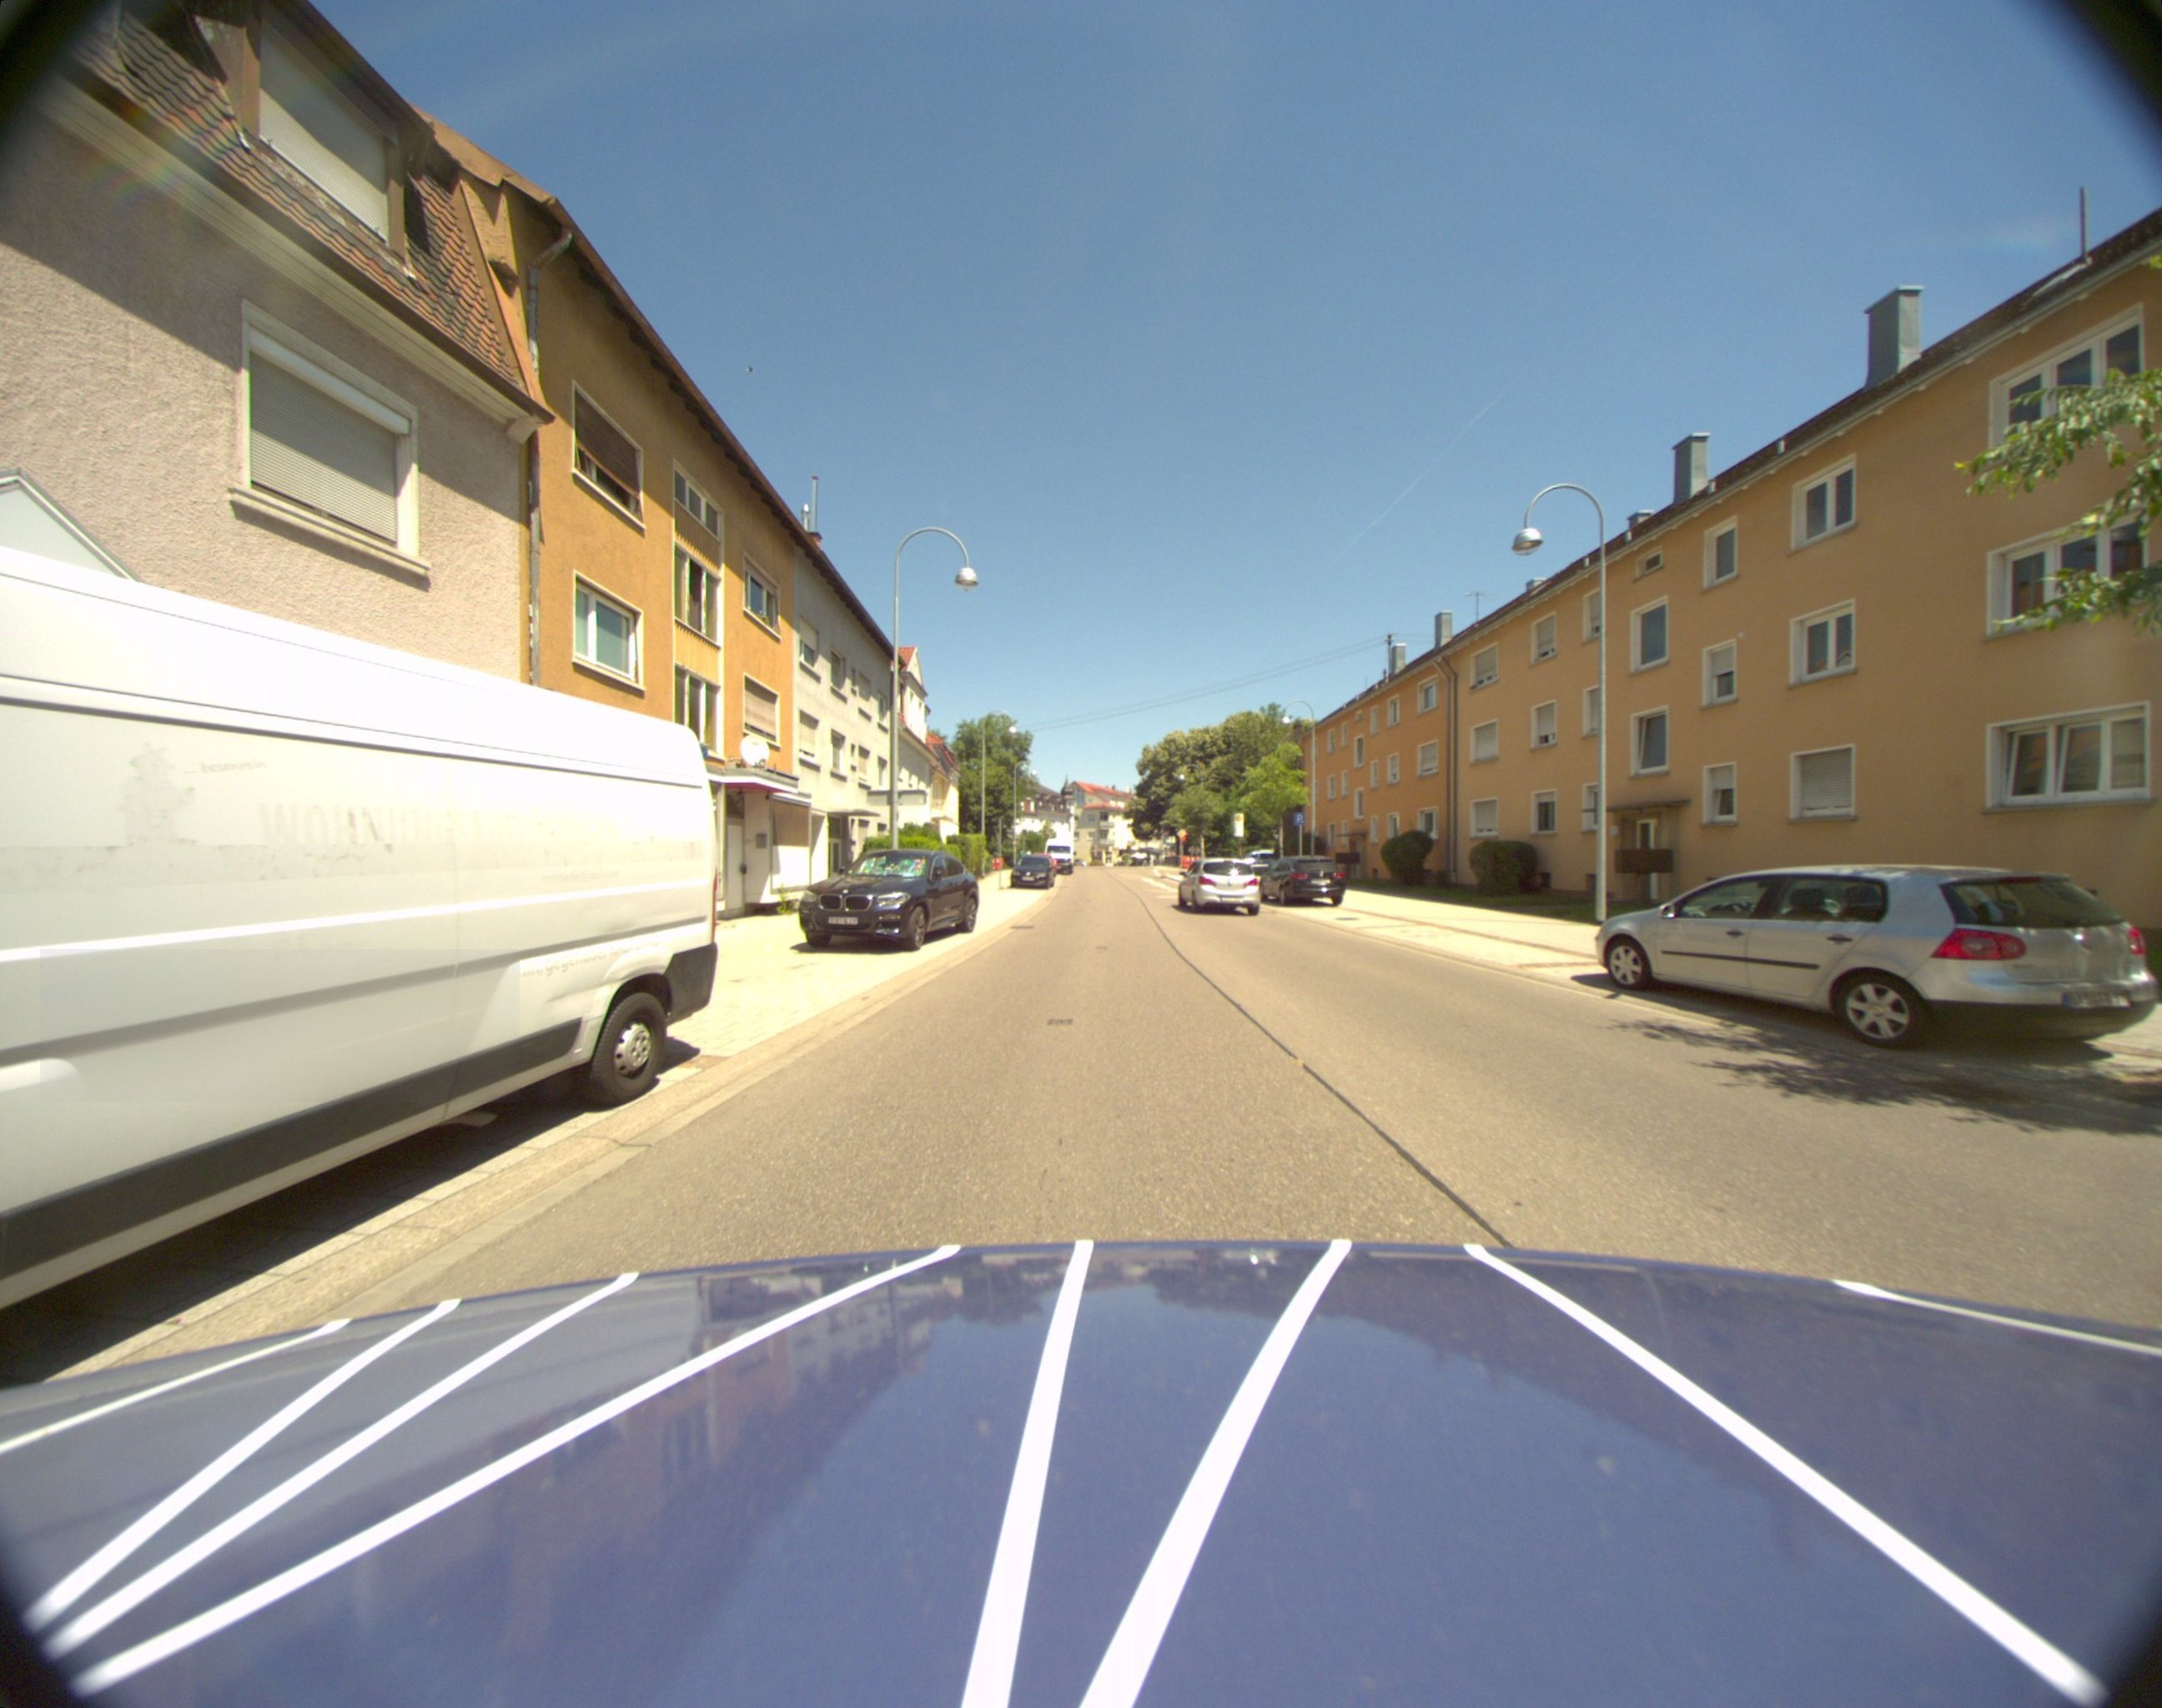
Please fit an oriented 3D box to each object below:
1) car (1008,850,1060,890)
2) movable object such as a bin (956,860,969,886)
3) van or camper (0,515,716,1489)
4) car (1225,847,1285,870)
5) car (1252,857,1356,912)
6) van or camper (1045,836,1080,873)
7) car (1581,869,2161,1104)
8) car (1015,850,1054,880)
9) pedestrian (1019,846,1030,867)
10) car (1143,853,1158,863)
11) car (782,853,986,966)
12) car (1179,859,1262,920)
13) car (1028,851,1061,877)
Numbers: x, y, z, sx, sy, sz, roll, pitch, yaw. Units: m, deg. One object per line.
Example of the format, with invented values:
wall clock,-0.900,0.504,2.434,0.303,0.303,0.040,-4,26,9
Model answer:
car,-2.040,0.677,34.071,1.732,1.623,4.001,2,0,4
movable object such as a bin,-5.180,0.832,33.177,0.488,1.097,0.555,0,1,1
van or camper,-3.906,0.377,2.787,2.170,2.574,5.766,1,0,2
car,14.147,0.333,61.883,4.438,1.863,1.817,0,1,-10
car,6.907,0.879,24.069,1.862,1.498,4.562,-2,0,-1
van or camper,-1.382,-0.031,54.826,2.114,2.453,6.172,-1,2,-5
car,7.234,0.954,7.316,1.999,1.412,4.086,-1,1,-3
car,-2.520,0.584,42.310,1.808,1.466,4.720,3,0,0
pedestrian,-4.505,0.201,60.554,0.522,1.696,0.803,3,0,-20
car,10.361,0.542,114.021,1.998,1.498,4.289,0,0,2
car,-3.256,0.821,13.572,1.898,1.598,4.367,2,1,9
car,3.751,0.903,20.979,1.663,1.488,3.759,0,0,1
car,-2.217,0.586,47.032,1.808,1.521,4.150,0,0,0
